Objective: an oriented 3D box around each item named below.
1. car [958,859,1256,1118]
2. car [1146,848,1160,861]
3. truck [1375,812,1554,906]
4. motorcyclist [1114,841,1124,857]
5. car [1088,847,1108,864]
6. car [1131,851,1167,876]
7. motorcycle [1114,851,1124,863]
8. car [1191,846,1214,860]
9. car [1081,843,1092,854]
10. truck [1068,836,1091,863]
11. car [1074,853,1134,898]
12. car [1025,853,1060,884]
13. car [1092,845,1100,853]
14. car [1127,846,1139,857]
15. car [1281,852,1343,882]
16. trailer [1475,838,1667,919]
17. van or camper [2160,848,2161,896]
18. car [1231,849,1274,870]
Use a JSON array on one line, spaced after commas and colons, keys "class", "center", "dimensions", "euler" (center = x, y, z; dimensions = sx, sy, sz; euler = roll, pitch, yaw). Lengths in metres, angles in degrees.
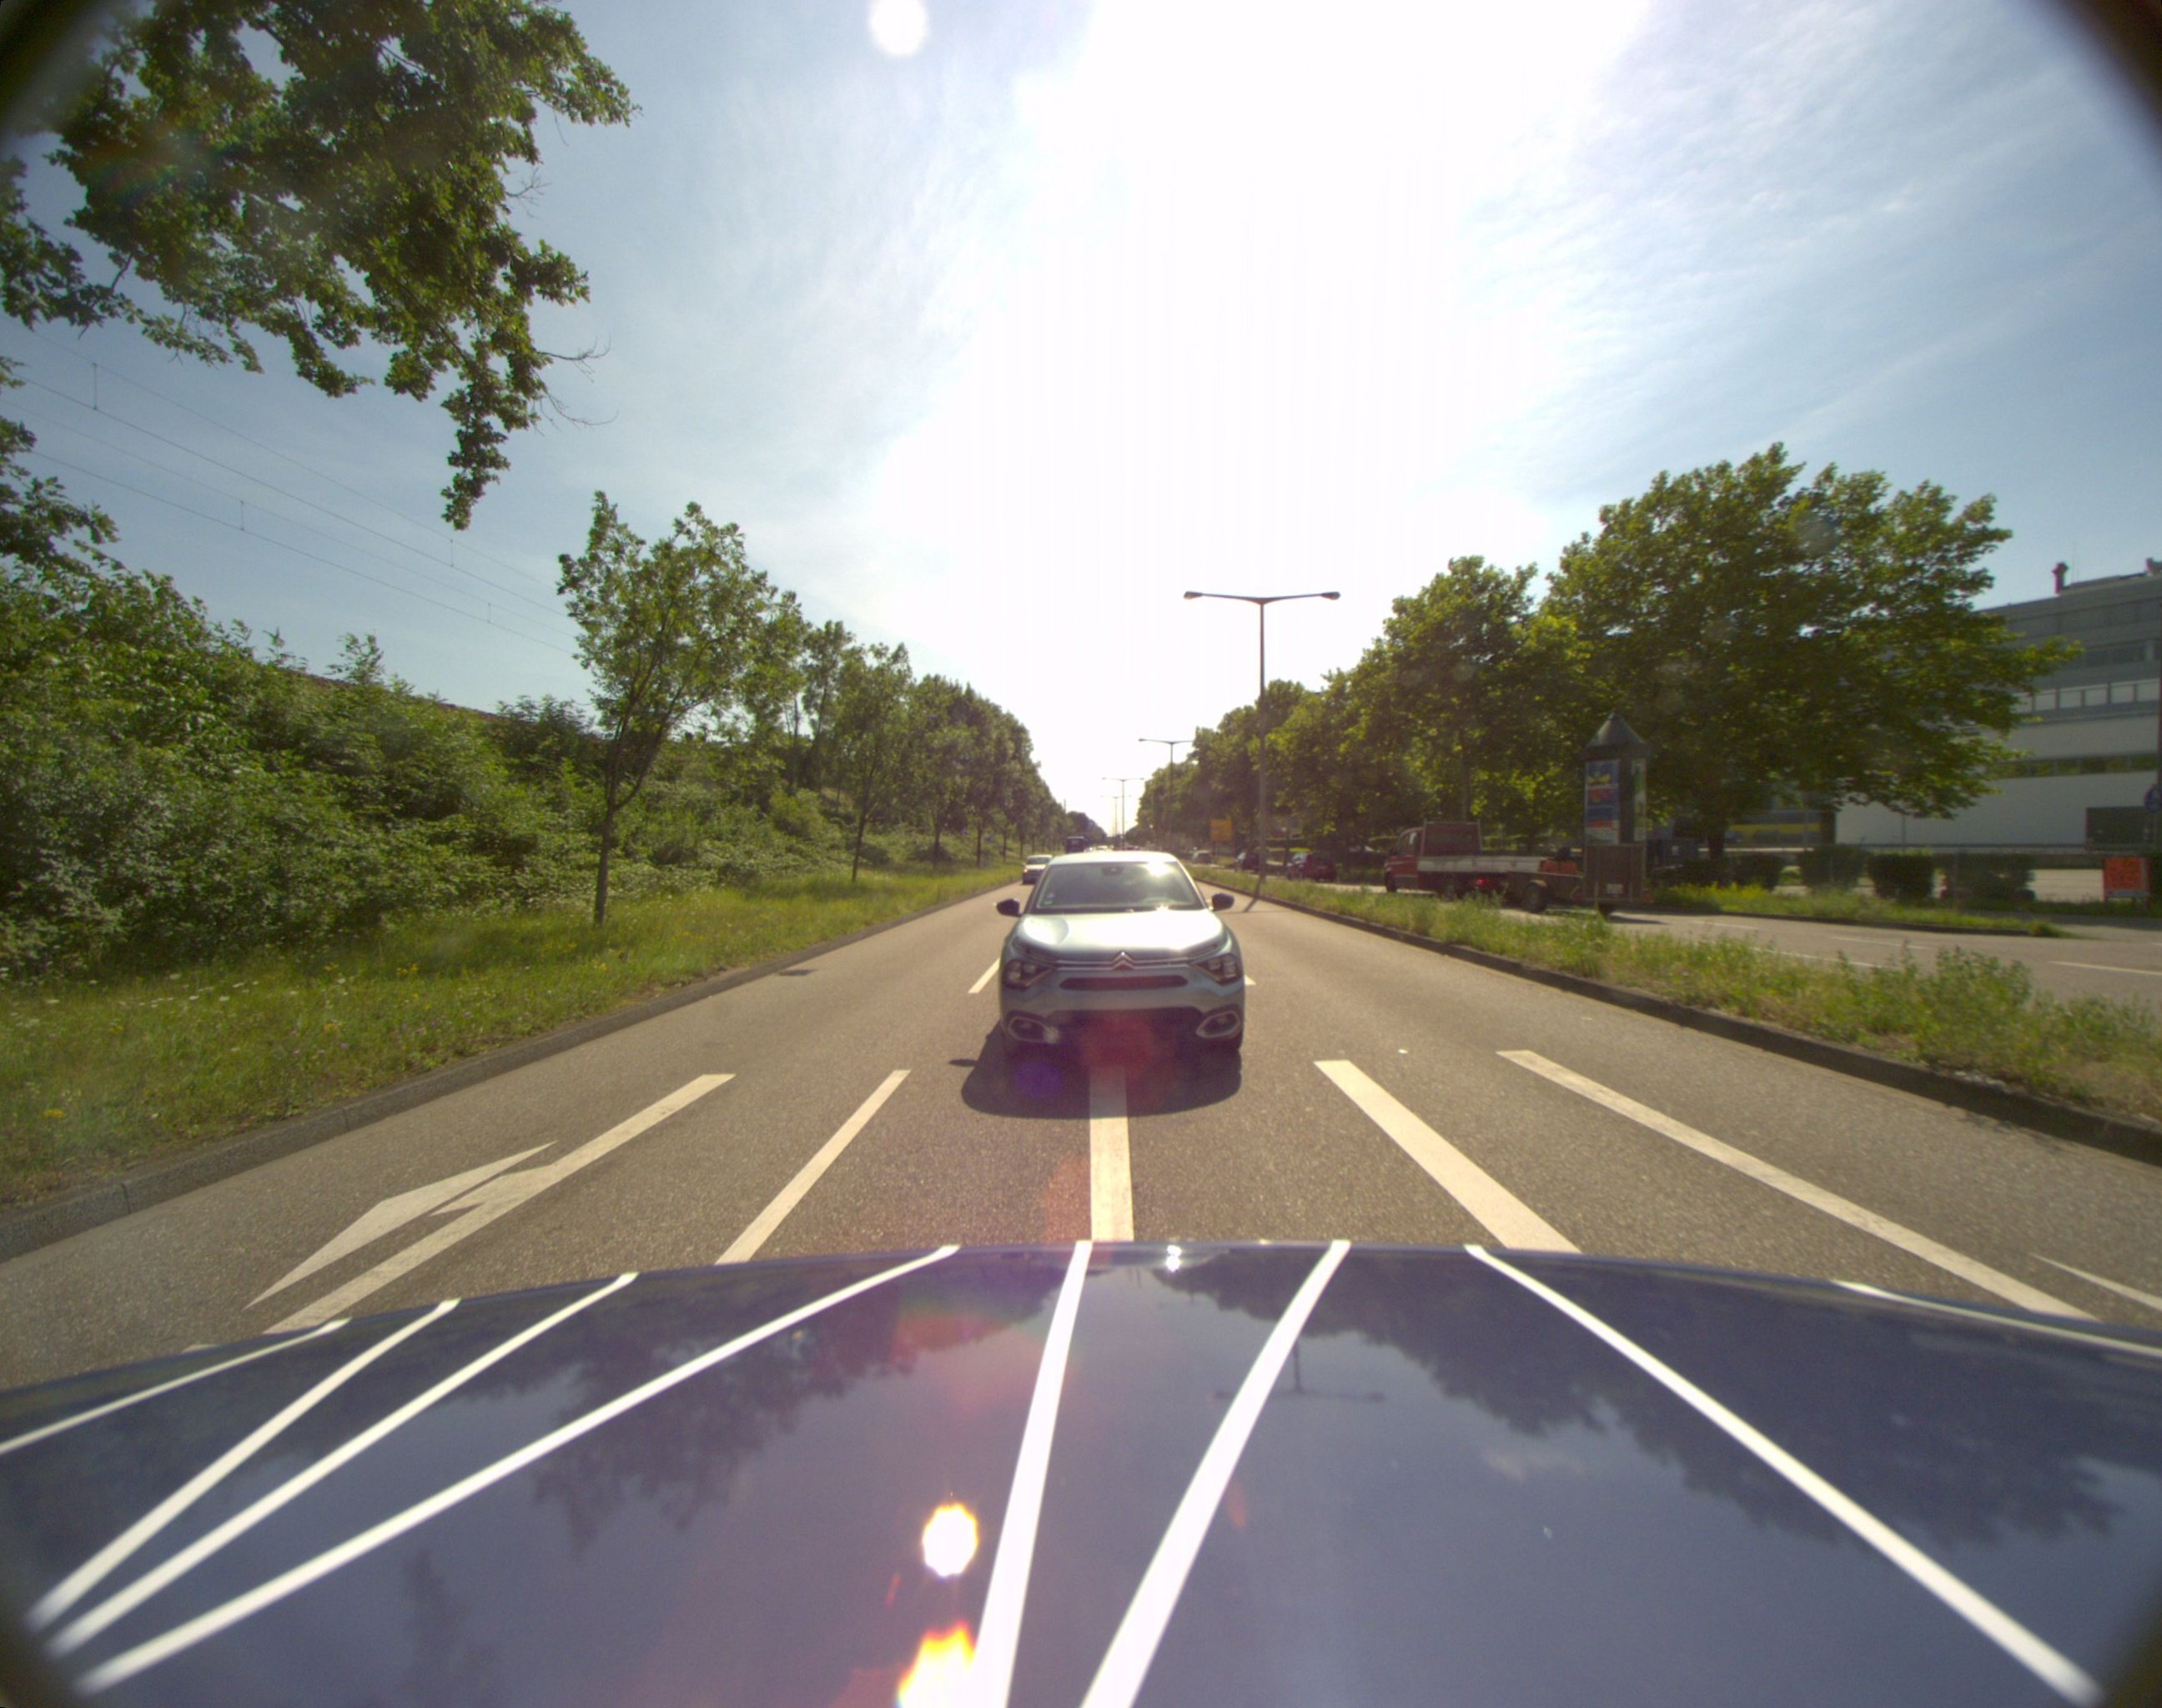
[{"class": "car", "center": [0.242, 0.856, 7.071], "dimensions": [1.826, 1.521, 4.752], "euler": [-1, 0, 2]}, {"class": "car", "center": [11.767, 0.026, 124.677], "dimensions": [1.998, 2.002, 4.000], "euler": [-1, 1, 1]}, {"class": "truck", "center": [11.538, 0.101, 23.681], "dimensions": [2.145, 2.461, 7.128], "euler": [-1, 1, 1]}, {"class": "motorcyclist", "center": [4.251, -0.566, 85.009], "dimensions": [1.066, 1.689, 1.042], "euler": [-1, 1, 0]}, {"class": "car", "center": [1.702, 0.136, 73.654], "dimensions": [1.826, 1.521, 4.547], "euler": [-1, 0, 2]}, {"class": "car", "center": [4.160, 0.551, 46.042], "dimensions": [1.729, 1.354, 4.070], "euler": [-2, 1, 12]}, {"class": "motorcycle", "center": [4.251, 0.305, 84.873], "dimensions": [1.052, 1.343, 2.331], "euler": [-1, 1, 0]}, {"class": "car", "center": [13.237, -0.123, 82.860], "dimensions": [1.844, 1.414, 4.221], "euler": [1, 0, 0]}, {"class": "car", "center": [0.994, -0.998, 142.457], "dimensions": [1.998, 2.002, 4.000], "euler": [-1, 1, 1]}, {"class": "truck", "center": [-0.146, -0.589, 95.969], "dimensions": [2.775, 3.248, 7.482], "euler": [0, 1, 1]}, {"class": "car", "center": [0.786, 0.712, 27.498], "dimensions": [1.998, 1.492, 4.000], "euler": [-1, 0, 1]}, {"class": "car", "center": [-1.961, 0.722, 39.109], "dimensions": [1.705, 1.429, 3.677], "euler": [-2, 1, -2]}, {"class": "car", "center": [3.674, -1.188, 187.131], "dimensions": [1.998, 2.002, 4.000], "euler": [-1, 1, 1]}, {"class": "car", "center": [9.244, -0.455, 135.651], "dimensions": [1.998, 2.002, 4.000], "euler": [-1, 1, 1]}, {"class": "car", "center": [11.464, 0.628, 37.945], "dimensions": [1.853, 1.426, 3.766], "euler": [0, 0, -2]}, {"class": "trailer", "center": [11.419, 0.508, 18.093], "dimensions": [2.067, 1.706, 3.990], "euler": [-1, 1, 1]}, {"class": "van or camper", "center": [39.490, 0.635, 25.014], "dimensions": [2.004, 1.682, 4.500], "euler": [-1, 1, -37]}, {"class": "car", "center": [12.291, 0.396, 54.681], "dimensions": [1.845, 1.414, 3.892], "euler": [0, 1, -5]}]
